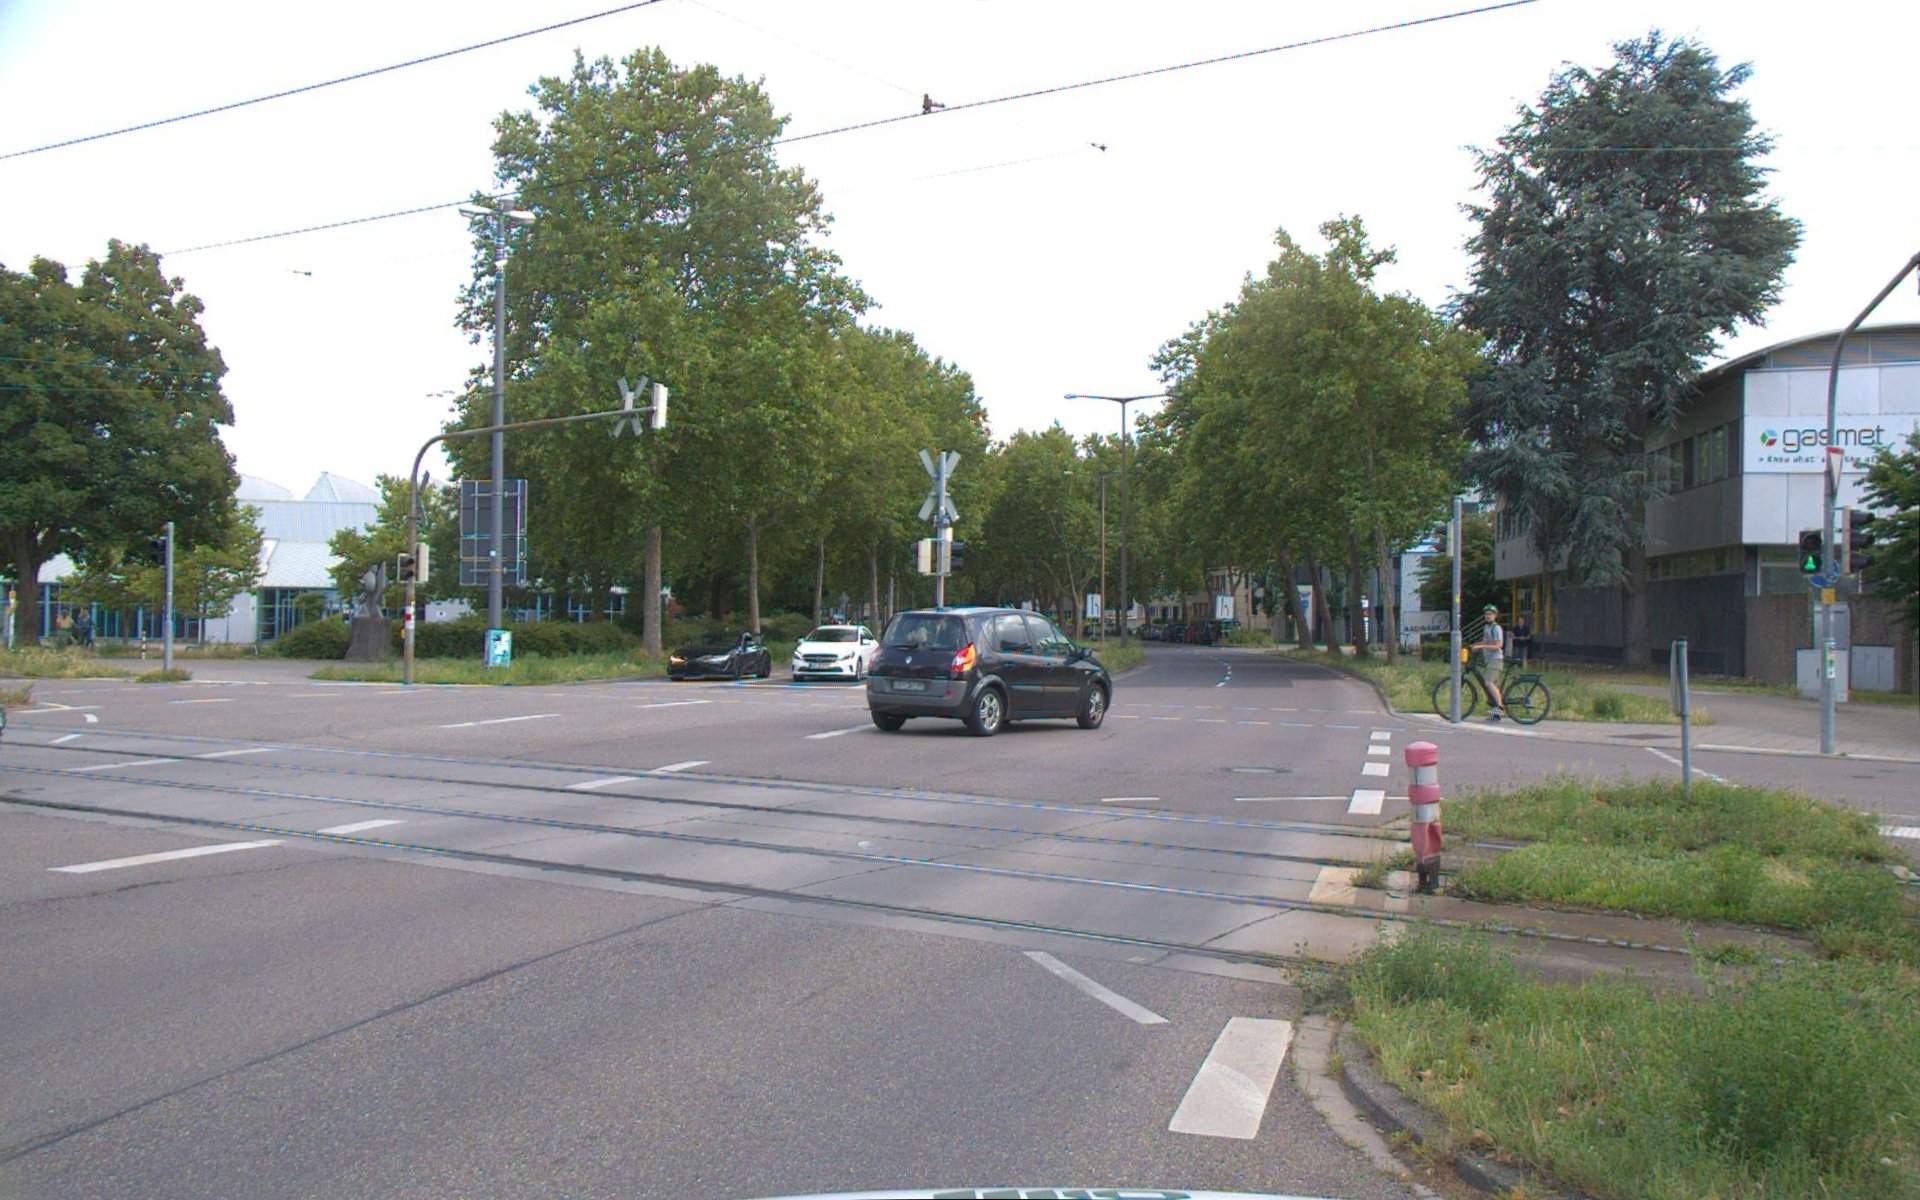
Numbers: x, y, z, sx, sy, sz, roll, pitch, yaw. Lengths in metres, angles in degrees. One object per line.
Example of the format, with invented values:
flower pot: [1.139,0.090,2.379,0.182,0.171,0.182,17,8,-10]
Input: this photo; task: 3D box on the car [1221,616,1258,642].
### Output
car: [19.493,2.009,115.428,1.952,1.601,4.001,0,1,1]

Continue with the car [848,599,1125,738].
car: [0.445,0.855,22.037,1.701,1.659,4.037,0,-1,36]

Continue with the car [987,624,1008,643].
car: [2.948,2.610,129.709,1.622,1.293,3.772,0,1,1]

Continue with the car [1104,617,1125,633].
car: [16.432,2.663,175.922,1.952,1.601,4.001,0,1,1]

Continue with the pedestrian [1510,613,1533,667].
pedestrian: [17.198,1.222,50.659,0.607,1.597,0.560,0,1,12]

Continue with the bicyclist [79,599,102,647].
bicyclist: [-29.144,0.781,55.455,0.546,1.581,0.484,2,-1,-21]

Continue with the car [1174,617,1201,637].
car: [20.121,2.365,146.545,1.952,1.601,4.001,0,1,1]

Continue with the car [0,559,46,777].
car: [-10.157,0.538,13.504,4.277,1.831,1.879,1,-1,-11]

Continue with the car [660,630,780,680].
car: [-6.326,1.434,43.988,1.601,1.212,3.709,1,-1,19]

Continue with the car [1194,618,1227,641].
car: [19.286,2.222,127.422,1.952,1.601,4.001,0,1,1]

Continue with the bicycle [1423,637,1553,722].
bicycle: [8.283,1.232,25.976,1.906,1.257,0.541,1,1,22]

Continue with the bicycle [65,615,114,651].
bicycle: [-29.167,1.103,55.439,1.356,1.150,0.559,2,-2,-22]

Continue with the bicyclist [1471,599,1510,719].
bicyclist: [8.324,0.914,25.963,0.532,1.841,0.541,0,1,22]

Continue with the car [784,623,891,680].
car: [-3.199,1.332,43.994,1.786,1.388,4.141,1,-1,11]

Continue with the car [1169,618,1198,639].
car: [18.348,2.344,135.834,1.952,1.601,4.001,0,1,1]

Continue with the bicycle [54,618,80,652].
bicycle: [-31.167,1.221,57.738,0.557,1.150,1.361,1,-1,-38]

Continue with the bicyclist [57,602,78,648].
bicyclist: [-31.180,0.885,57.774,0.482,1.581,0.548,3,-2,-39]
